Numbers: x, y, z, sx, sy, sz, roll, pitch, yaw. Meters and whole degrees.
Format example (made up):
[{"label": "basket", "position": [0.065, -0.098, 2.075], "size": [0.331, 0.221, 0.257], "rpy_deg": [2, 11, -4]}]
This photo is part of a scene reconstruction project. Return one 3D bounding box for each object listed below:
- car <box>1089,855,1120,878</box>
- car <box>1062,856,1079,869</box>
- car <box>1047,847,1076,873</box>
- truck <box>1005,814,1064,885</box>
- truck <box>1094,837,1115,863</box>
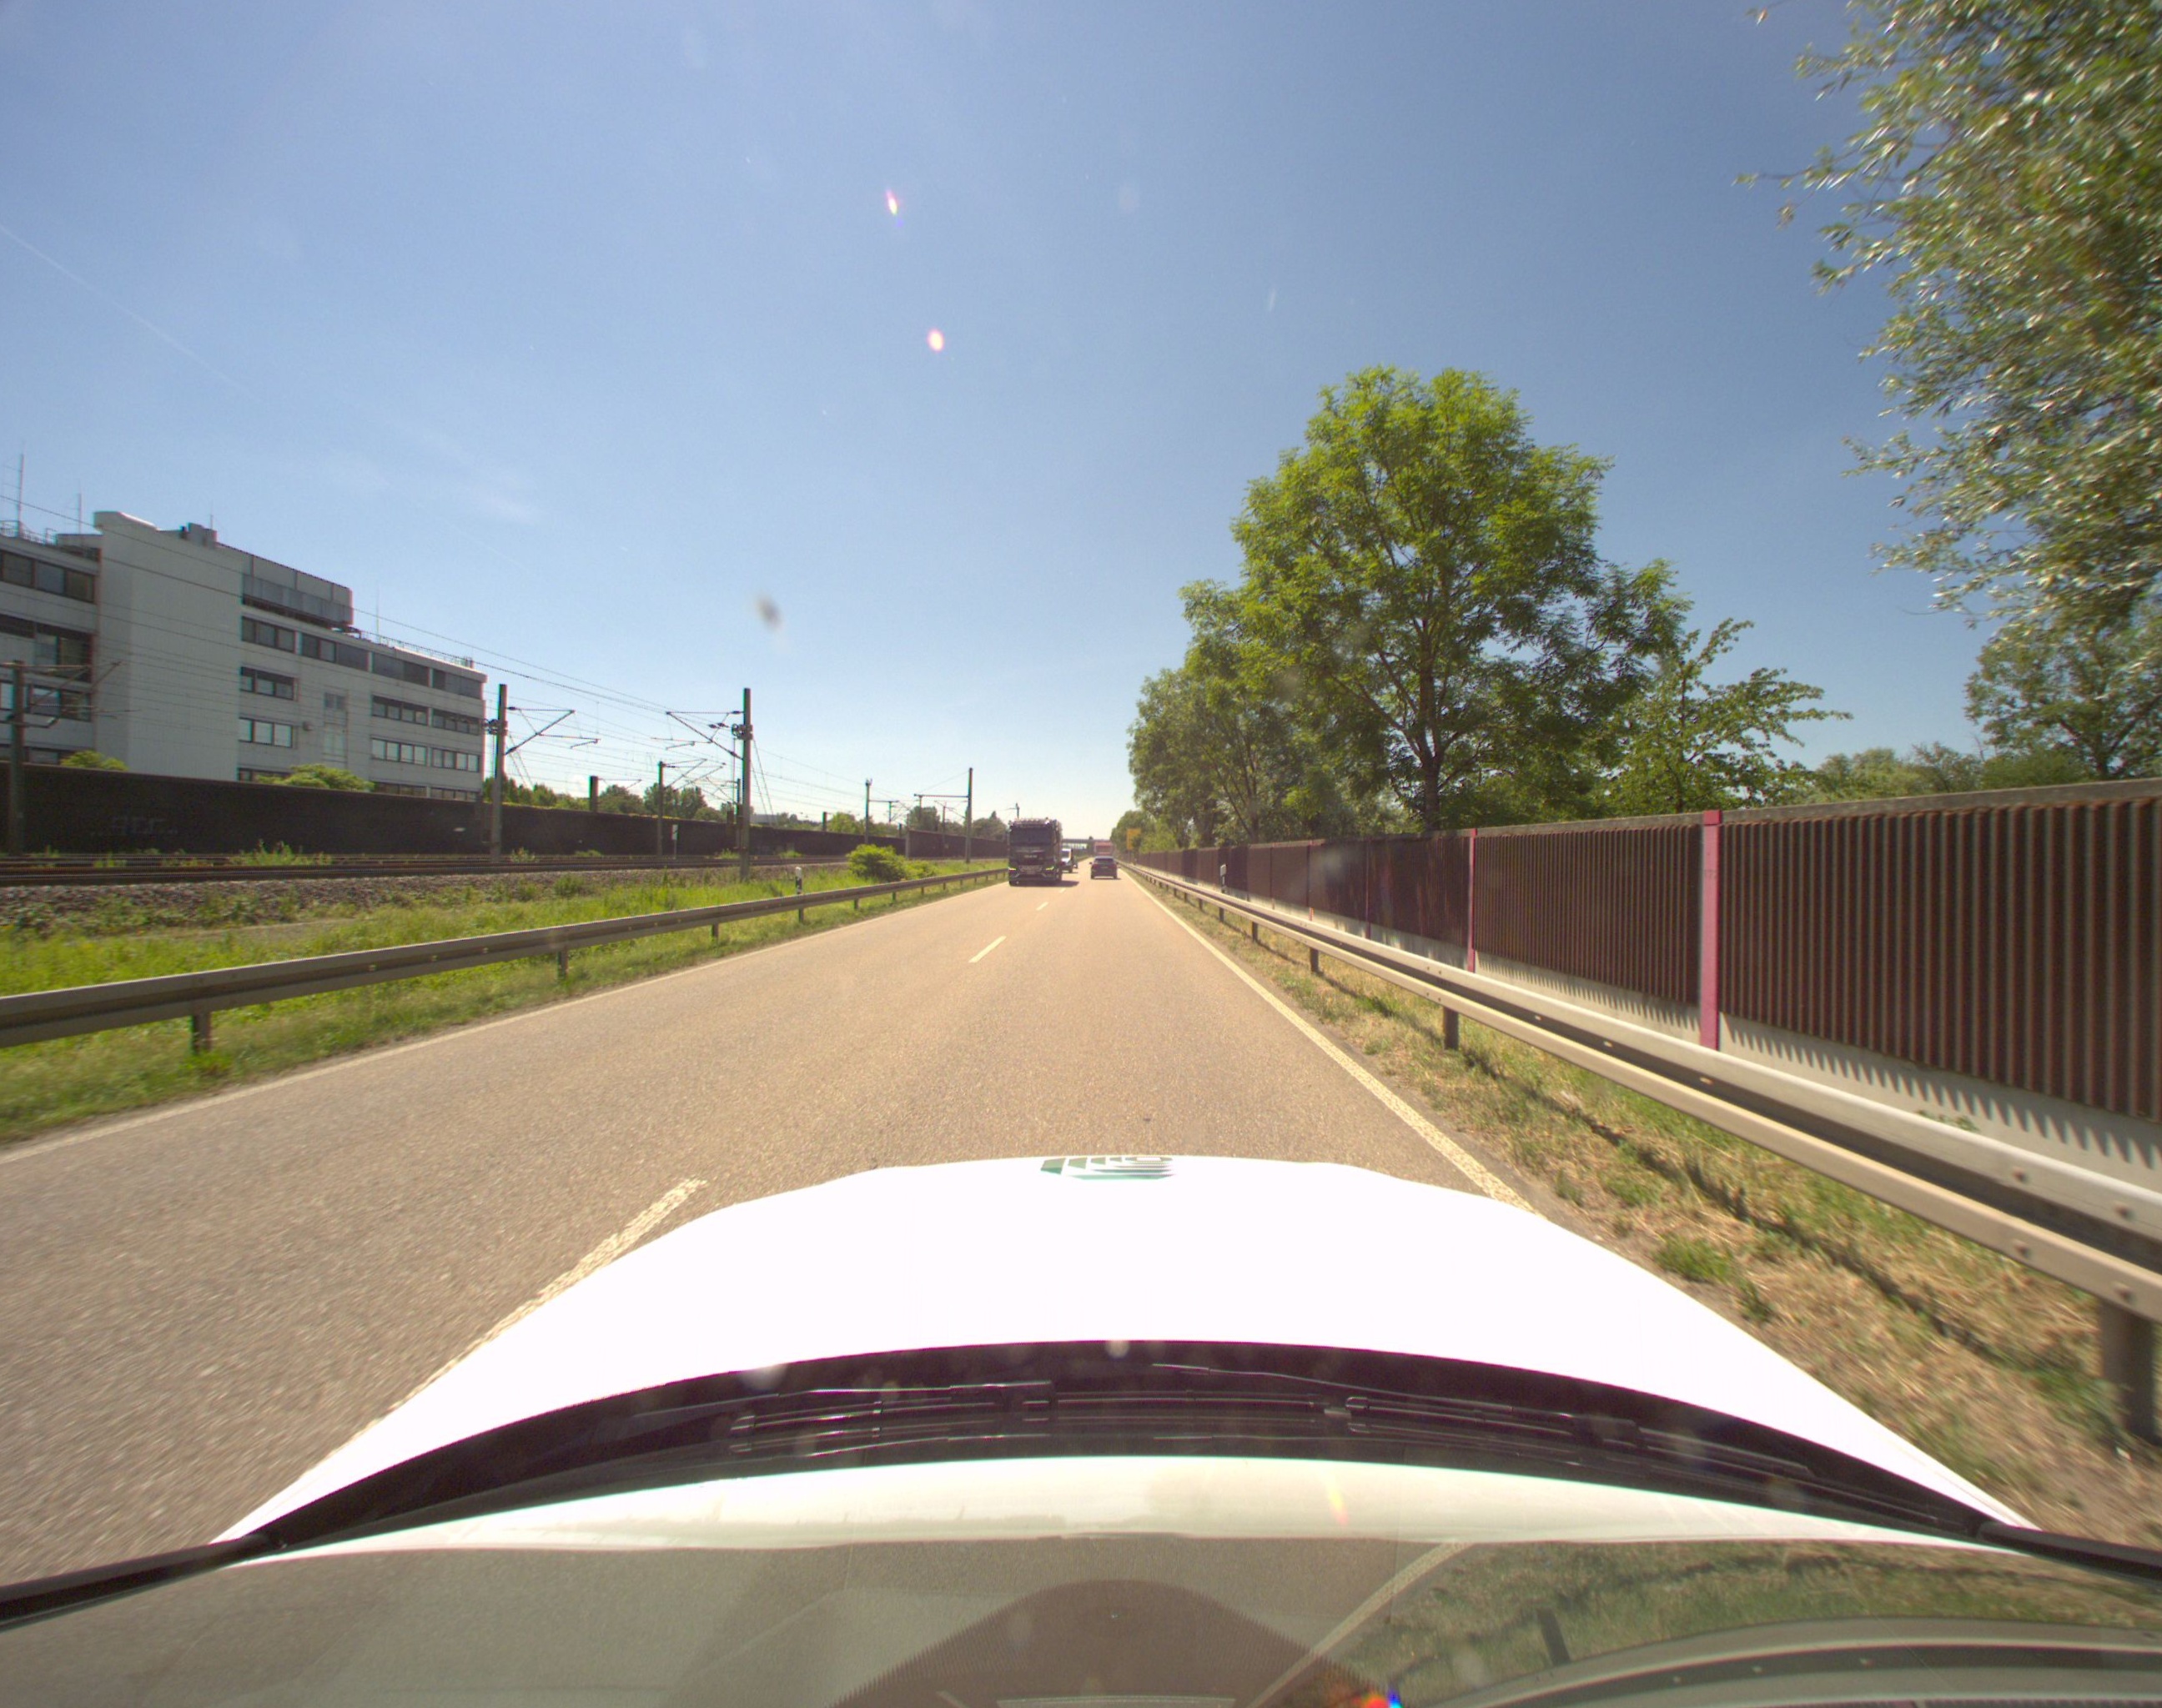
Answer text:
[{"label": "car", "position": [1.608, 0.852, 56.303], "size": [1.987, 1.508, 3.999], "rpy_deg": [0, 0, -1]}, {"label": "car", "position": [-1.263, 1.019, 99.994], "size": [1.967, 1.508, 4.164], "rpy_deg": [0, 0, 2]}, {"label": "car", "position": [-1.745, 0.509, 75.222], "size": [2.252, 2.287, 6.239], "rpy_deg": [0, 0, 3]}, {"label": "truck", "position": [-2.488, -0.230, 47.351], "size": [2.649, 3.627, 10.978], "rpy_deg": [0, 0, 1]}, {"label": "truck", "position": [3.194, -0.487, 110.093], "size": [2.760, 3.425, 10.823], "rpy_deg": [0, 0, 2]}]
